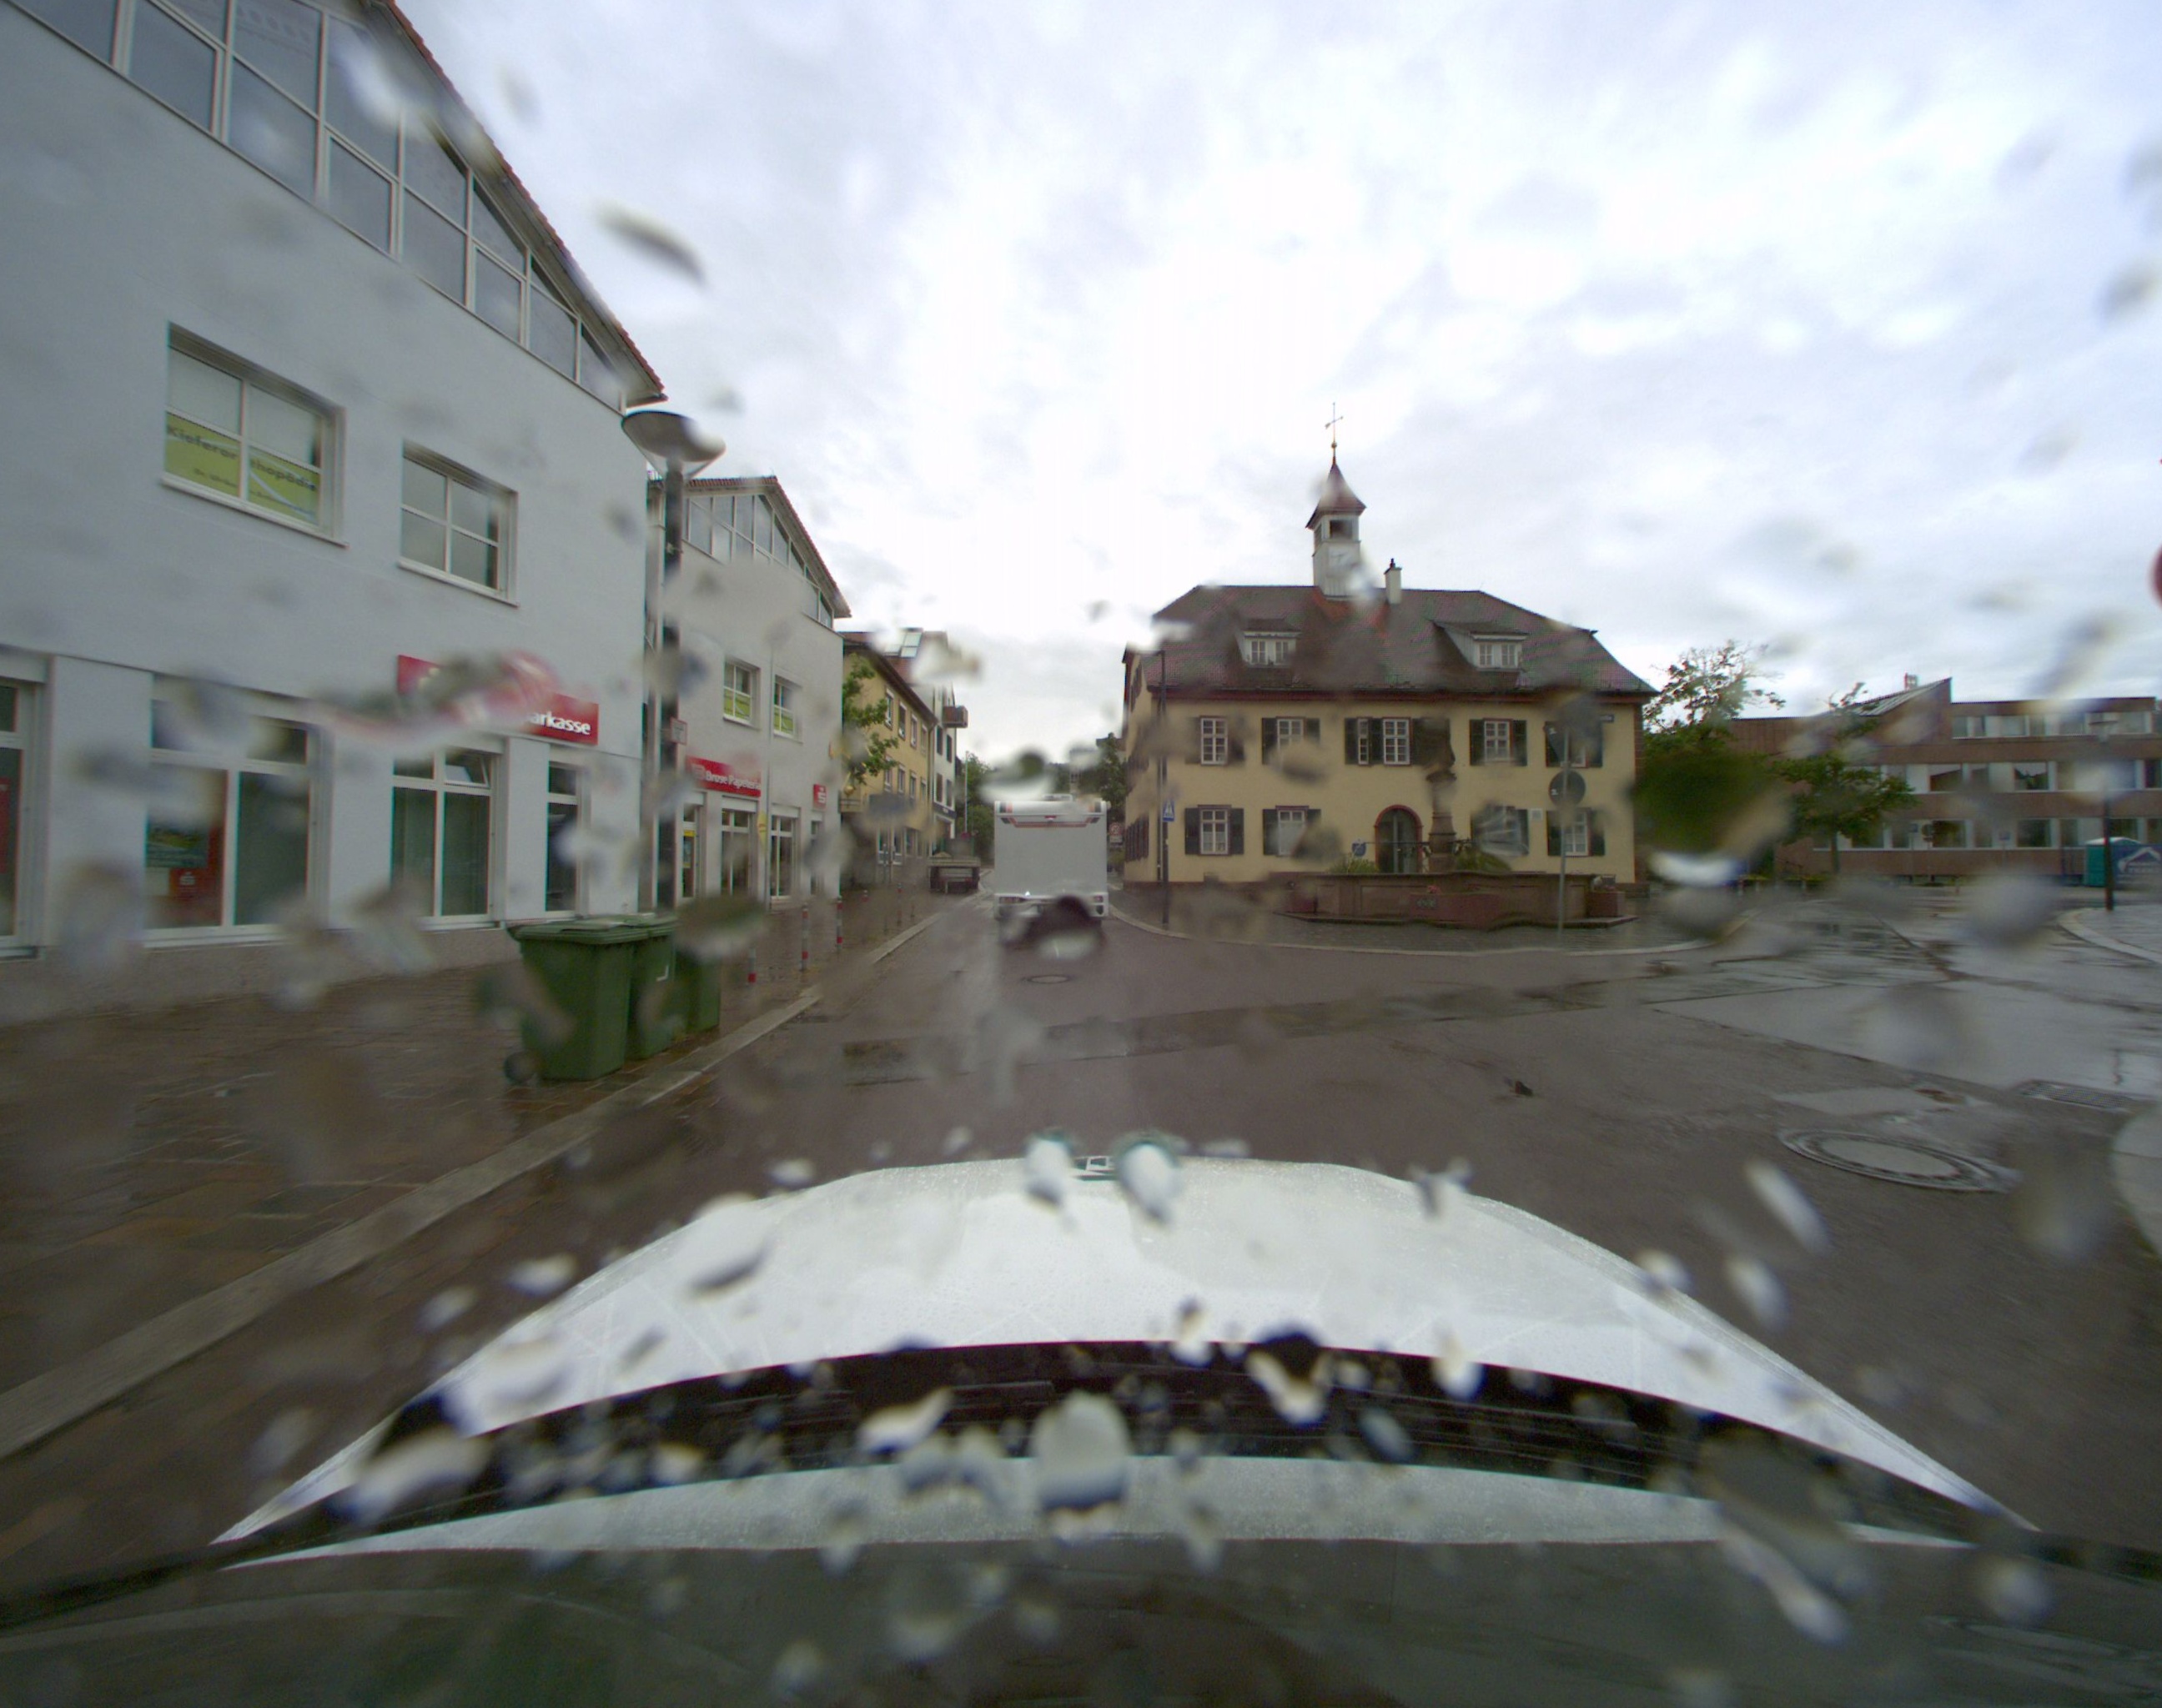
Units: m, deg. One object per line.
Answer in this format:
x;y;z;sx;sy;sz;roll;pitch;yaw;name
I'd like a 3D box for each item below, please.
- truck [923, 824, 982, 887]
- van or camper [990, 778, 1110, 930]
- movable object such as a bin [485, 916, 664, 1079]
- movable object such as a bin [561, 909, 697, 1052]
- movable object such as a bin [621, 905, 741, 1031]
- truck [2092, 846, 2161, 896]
-5.963;0.152;38.532;2.276;2.758;5.559;0;-2;-4;truck
-0.847;0.099;18.965;2.322;2.919;6.381;0;-2;-5;van or camper
-3.570;0.986;5.808;0.816;1.051;0.699;0;-2;-1;movable object such as a bin
-3.553;0.976;6.448;0.763;1.051;0.523;0;-2;-1;movable object such as a bin
-3.570;1.004;7.315;0.763;1.051;0.523;2;-2;-1;movable object such as a bin
45.326;0.676;33.355;1.982;2.058;5.075;-1;-2;9;truck
